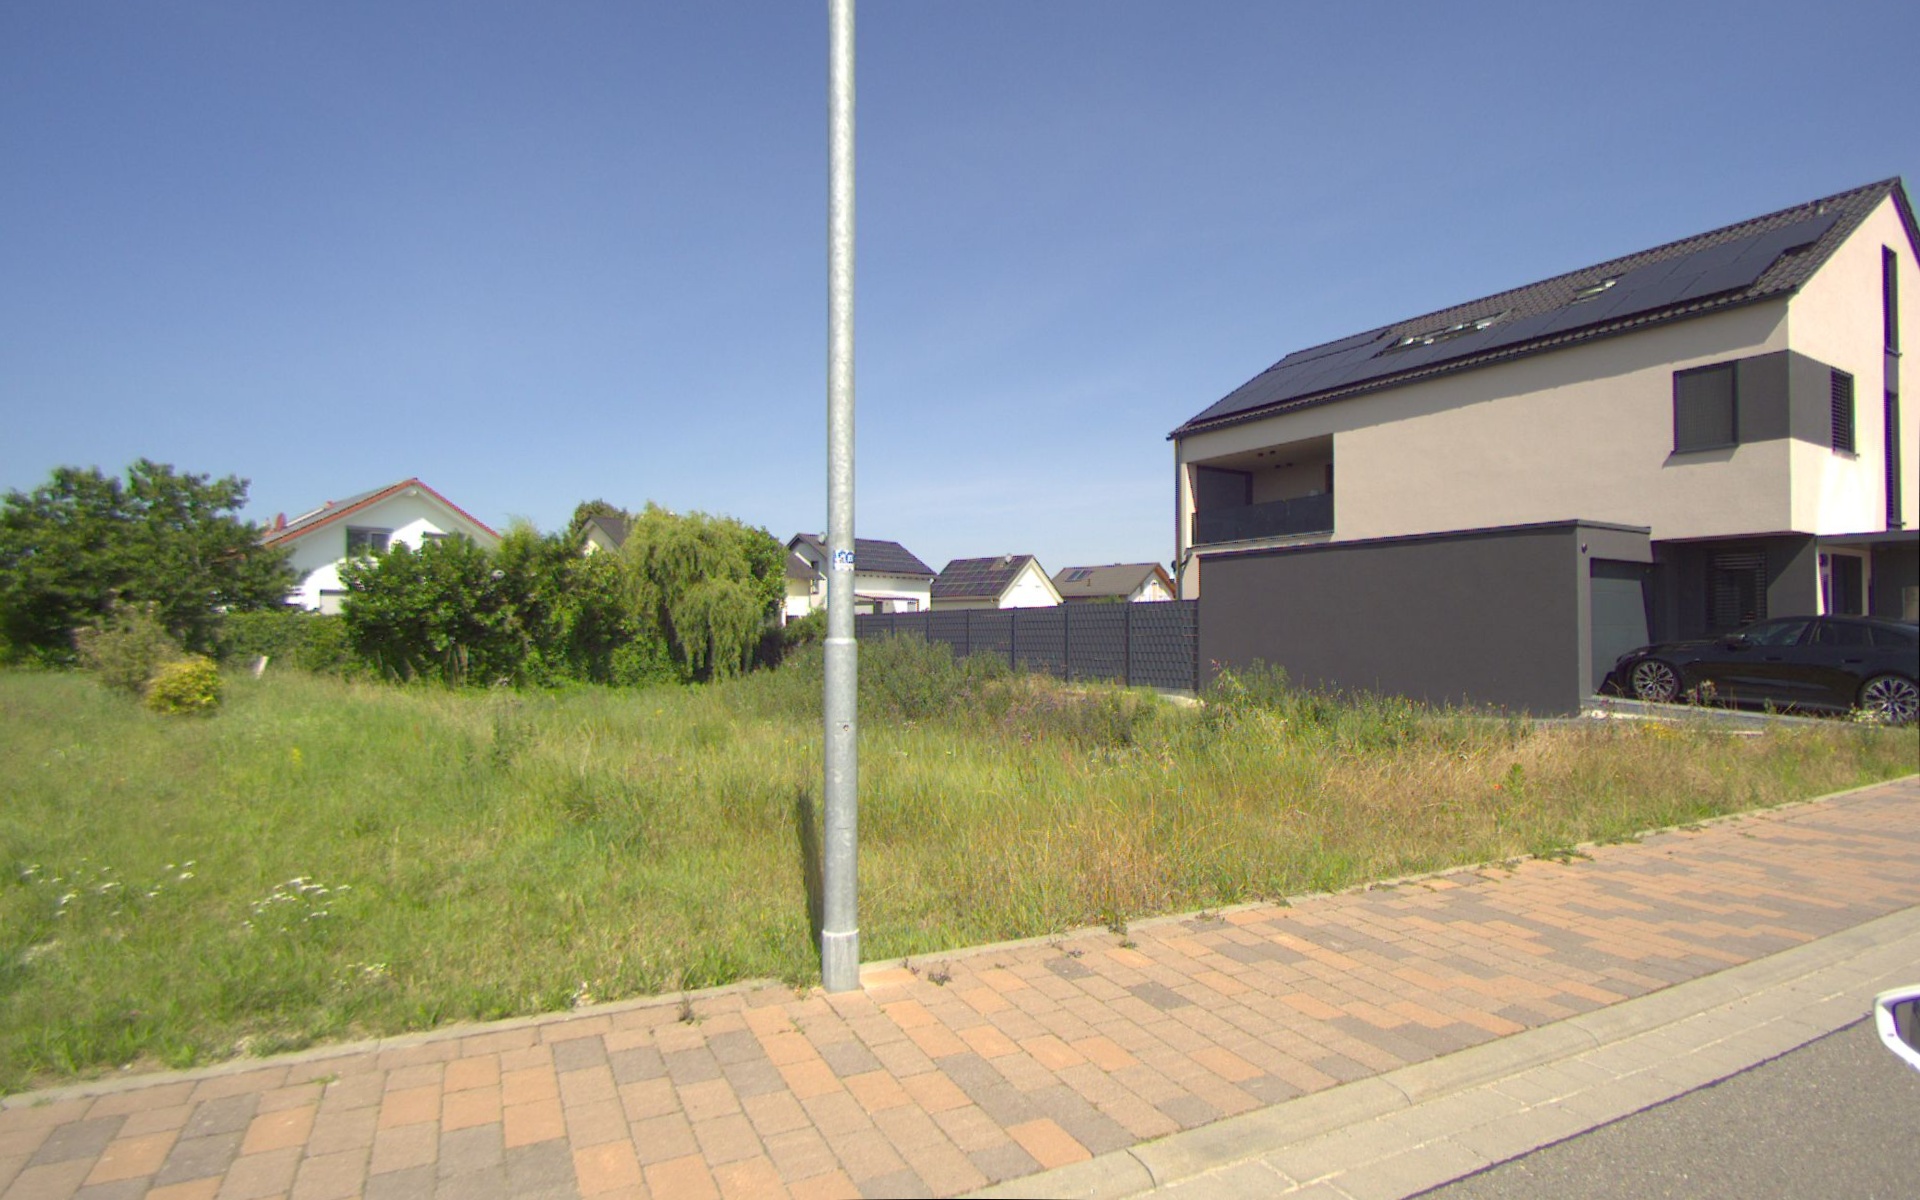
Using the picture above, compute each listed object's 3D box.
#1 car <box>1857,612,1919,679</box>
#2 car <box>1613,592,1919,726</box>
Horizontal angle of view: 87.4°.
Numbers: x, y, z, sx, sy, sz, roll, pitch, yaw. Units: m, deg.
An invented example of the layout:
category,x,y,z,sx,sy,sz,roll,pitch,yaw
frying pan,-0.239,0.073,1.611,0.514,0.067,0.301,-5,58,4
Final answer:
category,x,y,z,sx,sy,sz,roll,pitch,yaw
car,22.813,1.027,22.325,1.733,1.506,3.969,1,-1,-29
car,12.243,0.762,14.543,1.750,1.653,4.353,1,1,-31
